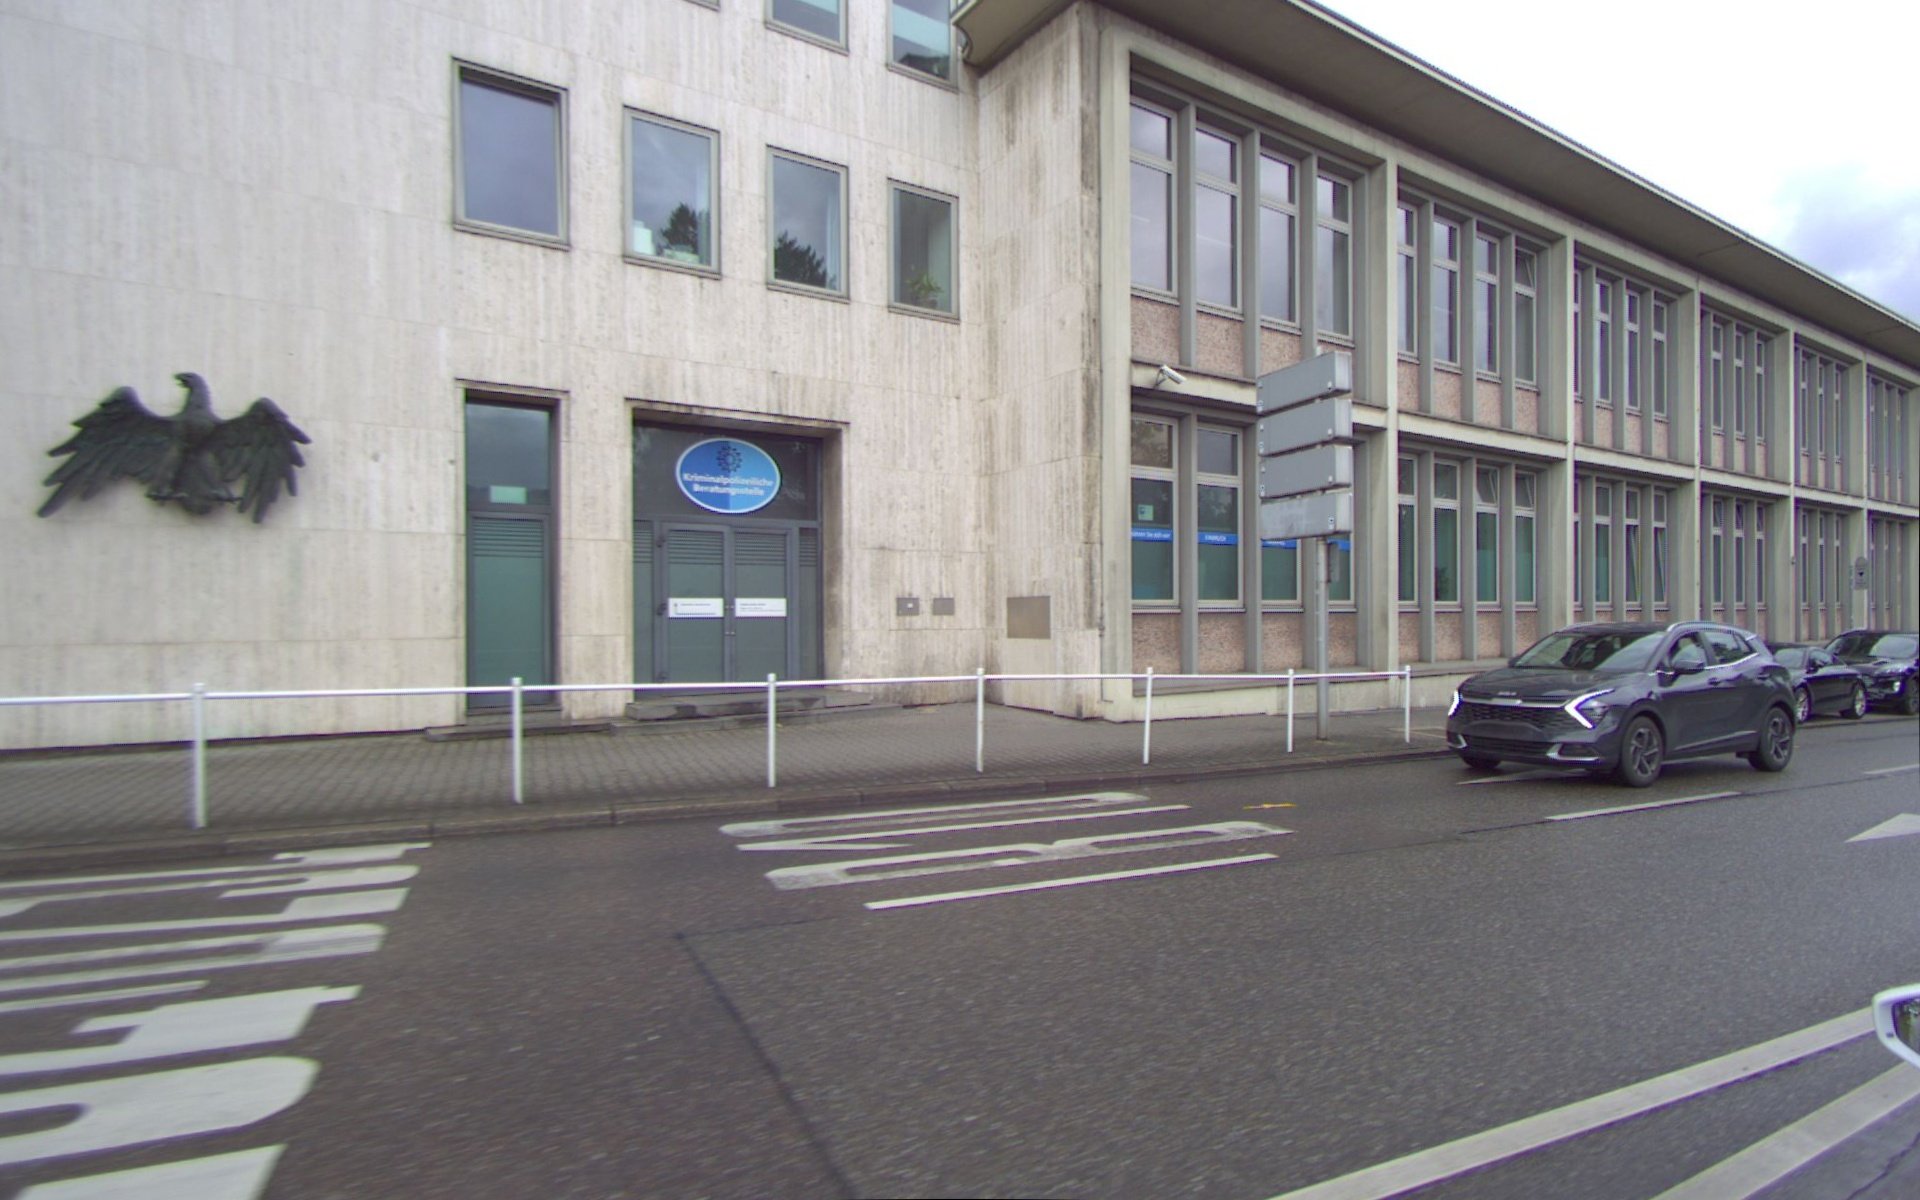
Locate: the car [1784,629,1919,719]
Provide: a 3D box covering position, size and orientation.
[{"bbox_3d":[19.487,1.493,21.222,4.550,1.698,1.788,1,-1,-31],"label":"car"}]

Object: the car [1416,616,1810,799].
[{"bbox_3d":[7.260,1.055,11.111,4.283,1.682,1.815,1,-2,-28],"label":"car"}]

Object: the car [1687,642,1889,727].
[{"bbox_3d":[15.261,1.480,18.480,4.060,1.371,1.536,1,-1,-30],"label":"car"}]
